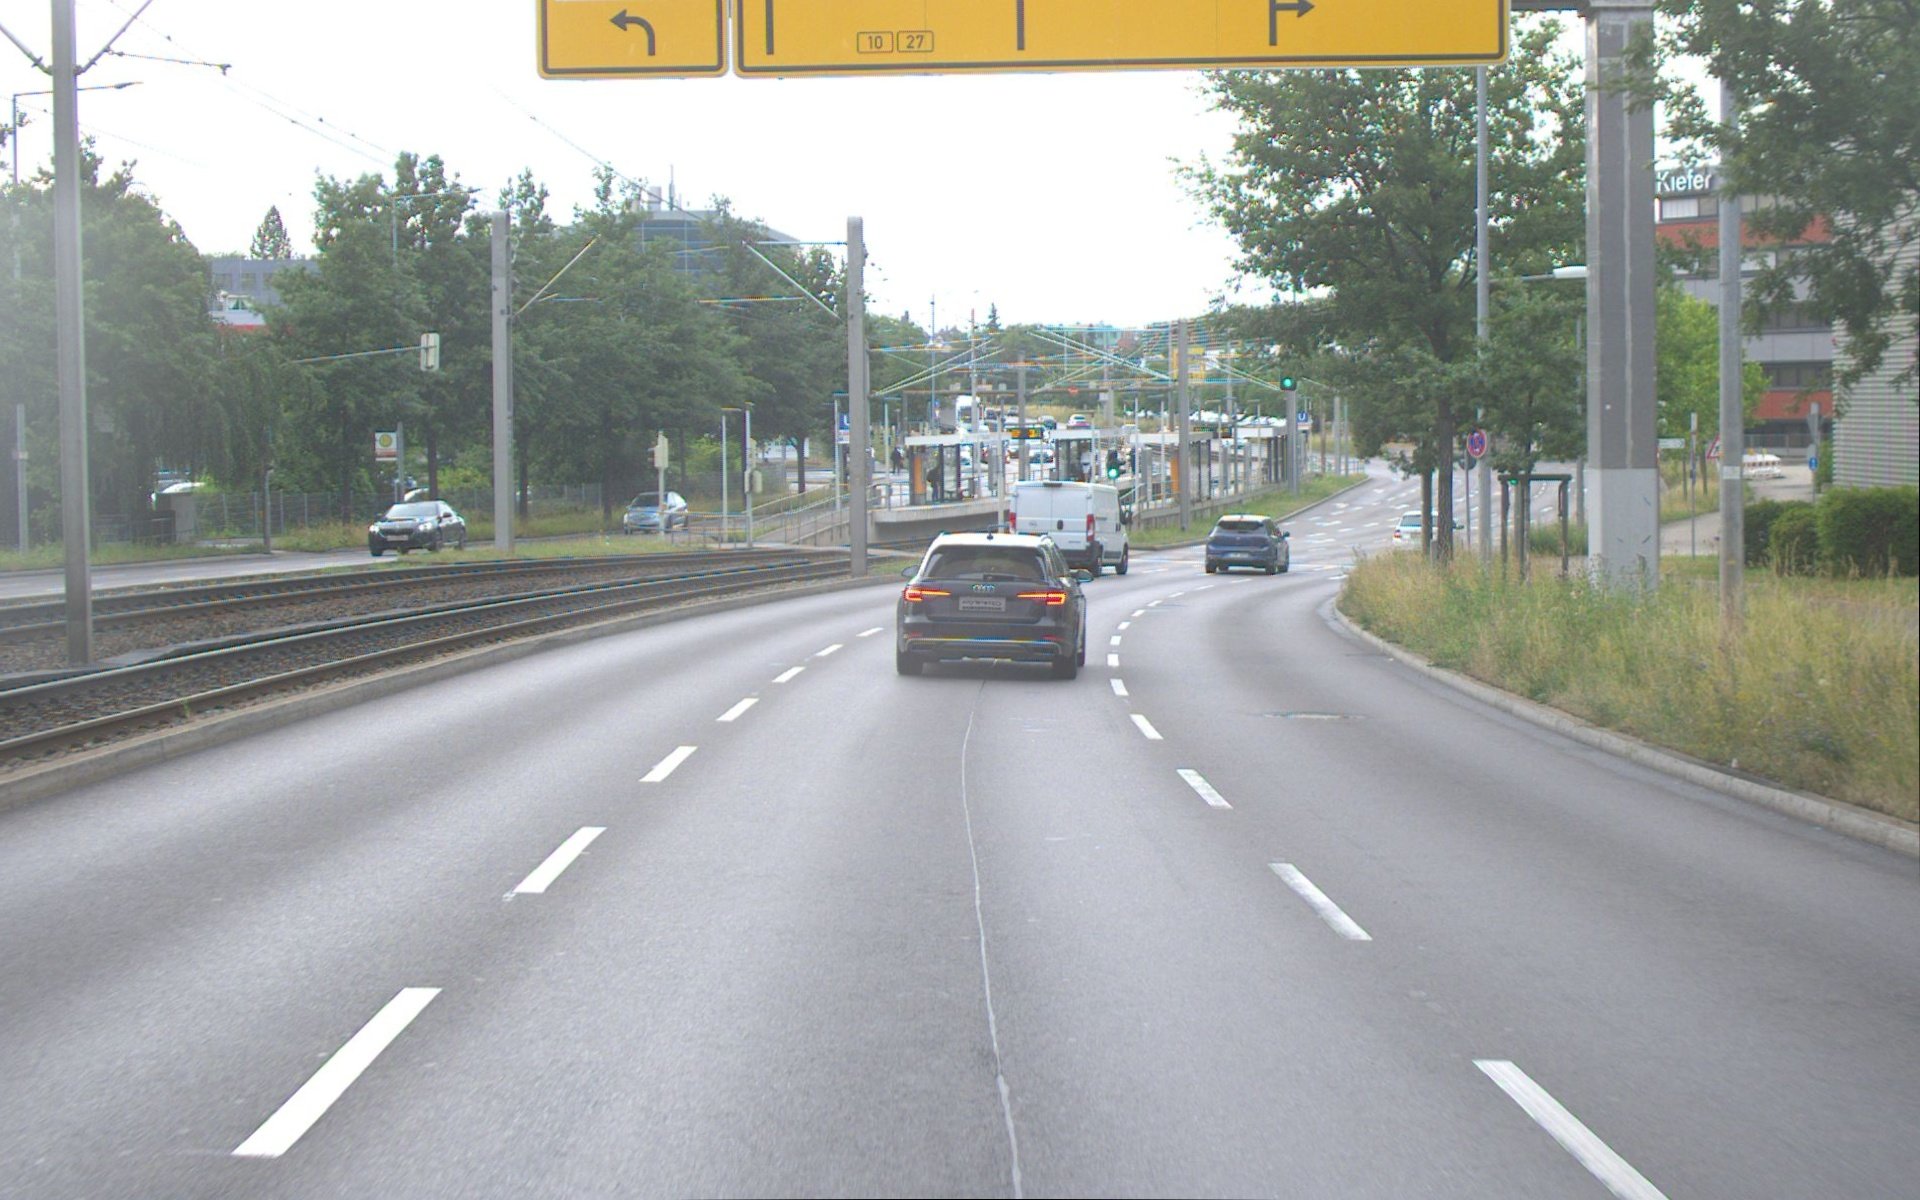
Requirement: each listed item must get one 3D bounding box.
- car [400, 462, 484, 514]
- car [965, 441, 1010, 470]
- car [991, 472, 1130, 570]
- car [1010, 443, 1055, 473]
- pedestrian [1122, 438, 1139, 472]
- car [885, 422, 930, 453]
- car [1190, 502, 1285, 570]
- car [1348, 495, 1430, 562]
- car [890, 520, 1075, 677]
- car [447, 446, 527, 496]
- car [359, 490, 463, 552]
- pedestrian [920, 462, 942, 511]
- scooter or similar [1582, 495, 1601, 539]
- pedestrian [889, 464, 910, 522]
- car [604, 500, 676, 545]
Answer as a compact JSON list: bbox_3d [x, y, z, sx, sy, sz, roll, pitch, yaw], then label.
[{"bbox_3d":[-21.216,-4.588,140.907,1.995,2.007,3.997,2,1,14],"label":"car"},{"bbox_3d":[2.041,-10.683,254.069,1.993,2.007,4.001,1,0,-20],"label":"car"},{"bbox_3d":[2.440,-1.856,81.876,2.512,2.169,5.147,1,0,11],"label":"car"},{"bbox_3d":[5.371,-10.550,255.752,1.993,2.007,4.001,1,0,-20],"label":"car"},{"bbox_3d":[9.157,-7.797,184.731,0.752,1.745,0.763,1,0,12],"label":"pedestrian"},{"bbox_3d":[-3.776,-11.690,247.502,1.993,2.007,4.001,1,0,-20],"label":"car"},{"bbox_3d":[7.019,-1.593,86.757,2.022,1.617,3.998,1,0,10],"label":"car"},{"bbox_3d":[12.478,-2.097,99.845,2.022,1.763,3.999,1,4,12],"label":"car"},{"bbox_3d":[0.213,-0.069,35.309,1.764,1.458,4.627,1,2,0],"label":"car"},{"bbox_3d":[-20.096,-5.475,146.104,1.995,2.007,3.997,2,1,14],"label":"car"},{"bbox_3d":[-14.530,-2.124,91.243,1.883,1.515,4.403,-3,2,2],"label":"car"},{"bbox_3d":[-1.118,-4.373,132.113,0.637,1.848,0.750,1,0,11],"label":"pedestrian"},{"bbox_3d":[18.397,-2.413,100.220,0.457,1.259,1.337,-2,1,8],"label":"scooter or similar"},{"bbox_3d":[-2.058,-3.634,116.764,0.549,1.946,0.664,1,0,8],"label":"pedestrian"},{"bbox_3d":[-12.358,-3.018,132.955,1.994,1.674,3.999,1,2,6],"label":"car"}]
